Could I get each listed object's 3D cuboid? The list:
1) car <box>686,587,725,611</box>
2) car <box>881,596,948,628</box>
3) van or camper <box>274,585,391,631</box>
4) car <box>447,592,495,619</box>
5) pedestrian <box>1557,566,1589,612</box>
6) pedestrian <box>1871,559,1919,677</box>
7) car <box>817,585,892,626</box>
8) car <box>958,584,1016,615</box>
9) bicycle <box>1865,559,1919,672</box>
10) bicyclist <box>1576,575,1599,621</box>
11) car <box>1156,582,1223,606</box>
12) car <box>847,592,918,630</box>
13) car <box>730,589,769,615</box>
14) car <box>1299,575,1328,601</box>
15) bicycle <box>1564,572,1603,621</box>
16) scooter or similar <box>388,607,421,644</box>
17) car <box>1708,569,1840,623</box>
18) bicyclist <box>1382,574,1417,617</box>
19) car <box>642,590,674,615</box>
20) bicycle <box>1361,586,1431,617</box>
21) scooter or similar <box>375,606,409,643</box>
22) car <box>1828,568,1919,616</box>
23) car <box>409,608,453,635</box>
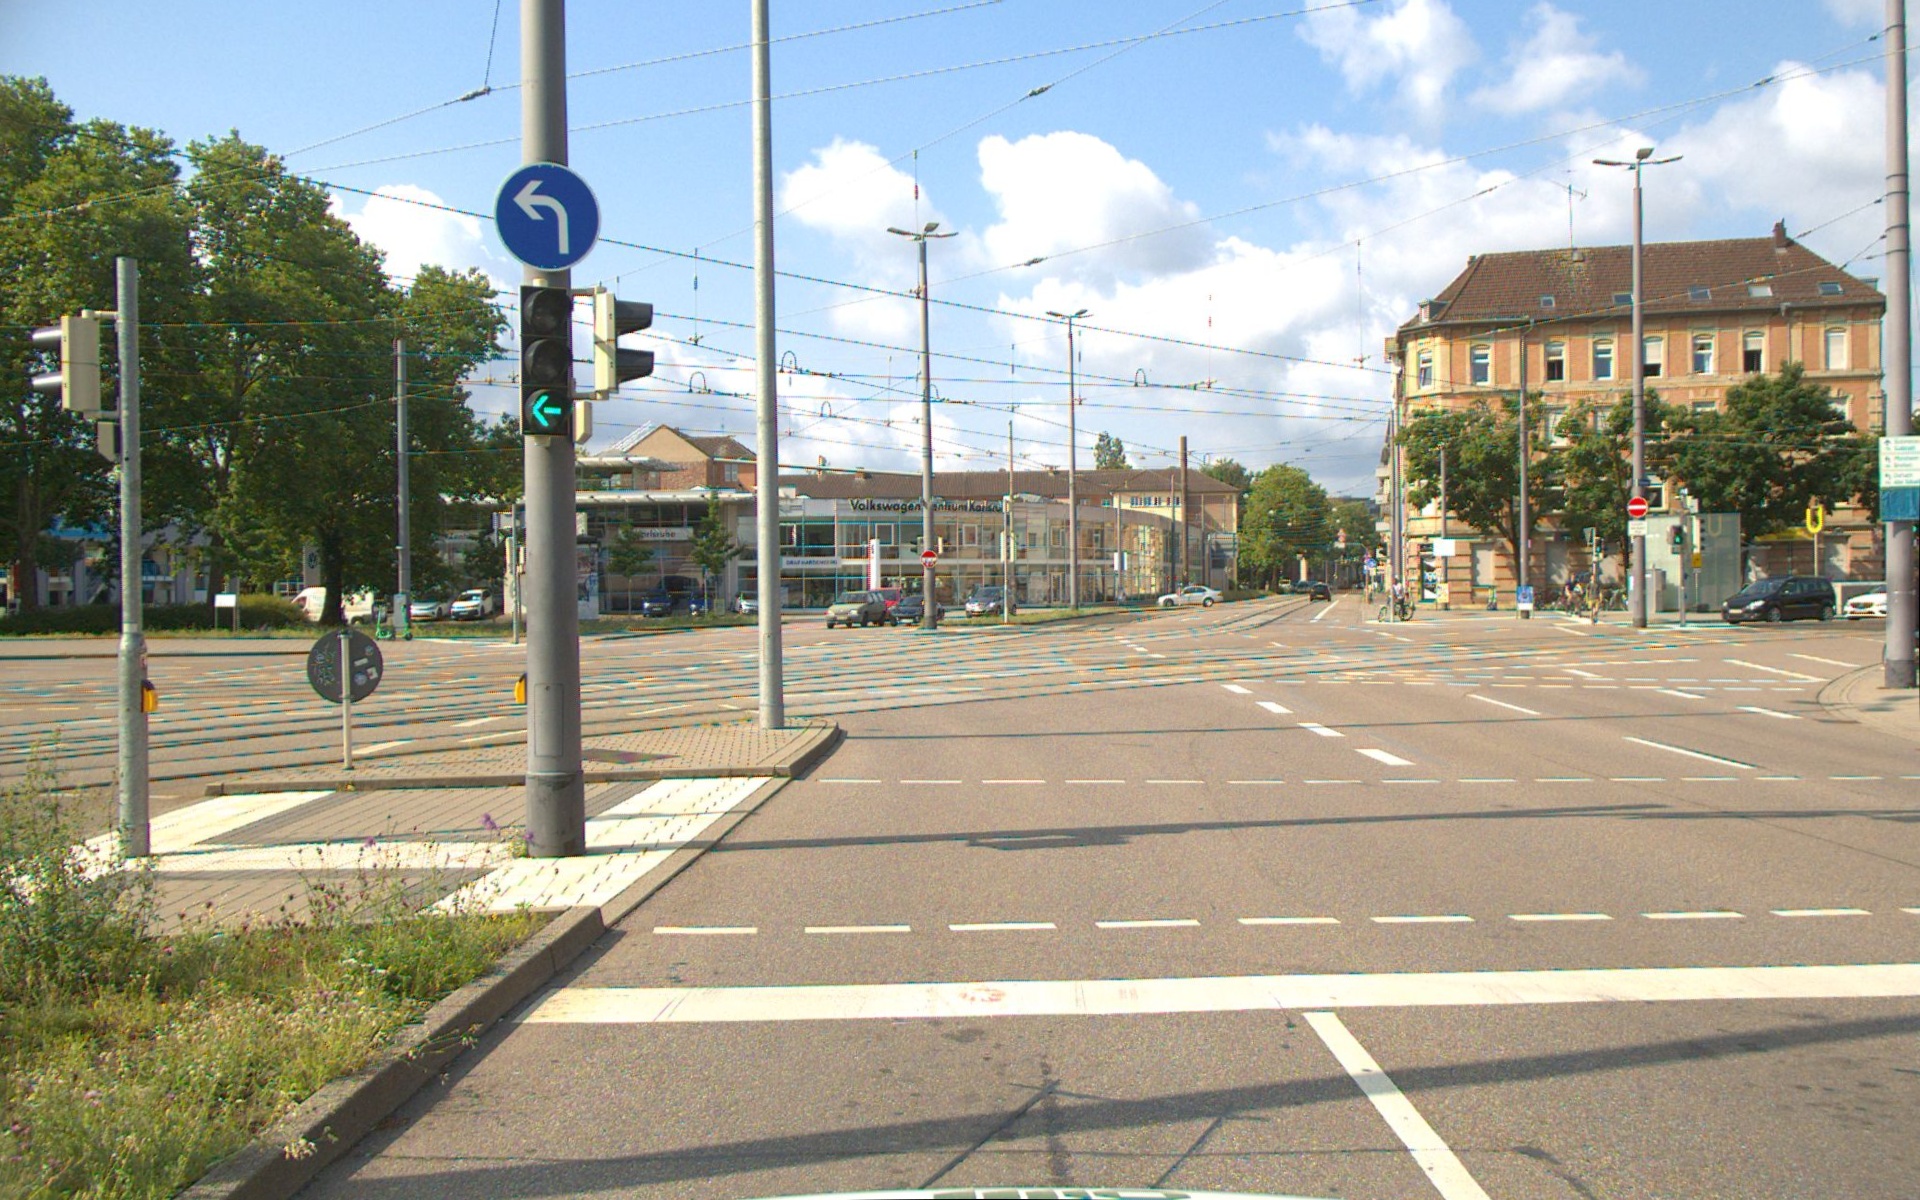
[{"bbox_3d":[-15.659,-0.080,101.937,1.881,1.470,3.998,-1,0,-3],"label":"car"},{"bbox_3d":[-1.783,0.483,65.700,1.587,1.182,4.003,1,0,15],"label":"car"},{"bbox_3d":[-36.172,0.470,95.477,5.754,2.512,2.394,1,0,3],"label":"van or camper"},{"bbox_3d":[-30.387,0.311,102.836,2.027,1.632,3.996,-1,0,-5],"label":"car"},{"bbox_3d":[24.905,-0.448,67.183,0.850,1.841,0.884,1,-1,-13],"label":"pedestrian"},{"bbox_3d":[15.371,0.296,26.796,0.972,1.873,0.995,1,-1,25],"label":"pedestrian"},{"bbox_3d":[-4.152,0.216,65.877,1.782,1.539,4.003,1,0,15],"label":"car"},{"bbox_3d":[1.427,-0.036,86.618,1.952,1.579,4.002,-1,0,18],"label":"car"},{"bbox_3d":[15.362,0.257,26.828,0.985,1.755,2.467,1,0,24],"label":"bicycle"},{"bbox_3d":[23.449,-0.069,61.785,0.561,1.700,0.655,-1,0,-4],"label":"bicyclist"},{"bbox_3d":[15.309,-0.395,110.558,4.372,1.490,1.783,1,0,5],"label":"car"},{"bbox_3d":[-3.335,0.481,71.651,1.951,1.545,4.003,1,0,15],"label":"car"},{"bbox_3d":[-13.193,0.088,104.003,1.880,1.579,4.000,-1,0,1],"label":"car"},{"bbox_3d":[29.202,-0.996,136.486,1.951,2.049,4.002,-1,0,17],"label":"car"},{"bbox_3d":[23.427,-0.146,62.181,0.715,1.808,1.636,-1,0,-4],"label":"bicycle"},{"bbox_3d":[-18.336,0.834,54.643,0.374,1.177,0.927,5,1,33],"label":"scooter or similar"},{"bbox_3d":[28.040,-0.122,56.978,4.277,1.770,1.982,1,0,-28],"label":"car"},{"bbox_3d":[17.761,-0.179,66.902,1.170,1.687,0.785,-1,0,-4],"label":"bicyclist"},{"bbox_3d":[-18.702,0.151,102.435,1.885,1.470,3.990,-1,0,-10],"label":"car"},{"bbox_3d":[17.644,0.051,66.956,2.618,1.191,0.900,-1,0,-4],"label":"bicycle"},{"bbox_3d":[-18.850,0.827,54.914,0.375,1.177,0.923,5,1,45],"label":"scooter or similar"},{"bbox_3d":[33.754,-0.298,59.806,4.616,1.623,1.982,-2,1,-28],"label":"car"},{"bbox_3d":[-32.905,1.314,103.025,1.957,1.601,3.992,1,0,-9],"label":"car"}]
